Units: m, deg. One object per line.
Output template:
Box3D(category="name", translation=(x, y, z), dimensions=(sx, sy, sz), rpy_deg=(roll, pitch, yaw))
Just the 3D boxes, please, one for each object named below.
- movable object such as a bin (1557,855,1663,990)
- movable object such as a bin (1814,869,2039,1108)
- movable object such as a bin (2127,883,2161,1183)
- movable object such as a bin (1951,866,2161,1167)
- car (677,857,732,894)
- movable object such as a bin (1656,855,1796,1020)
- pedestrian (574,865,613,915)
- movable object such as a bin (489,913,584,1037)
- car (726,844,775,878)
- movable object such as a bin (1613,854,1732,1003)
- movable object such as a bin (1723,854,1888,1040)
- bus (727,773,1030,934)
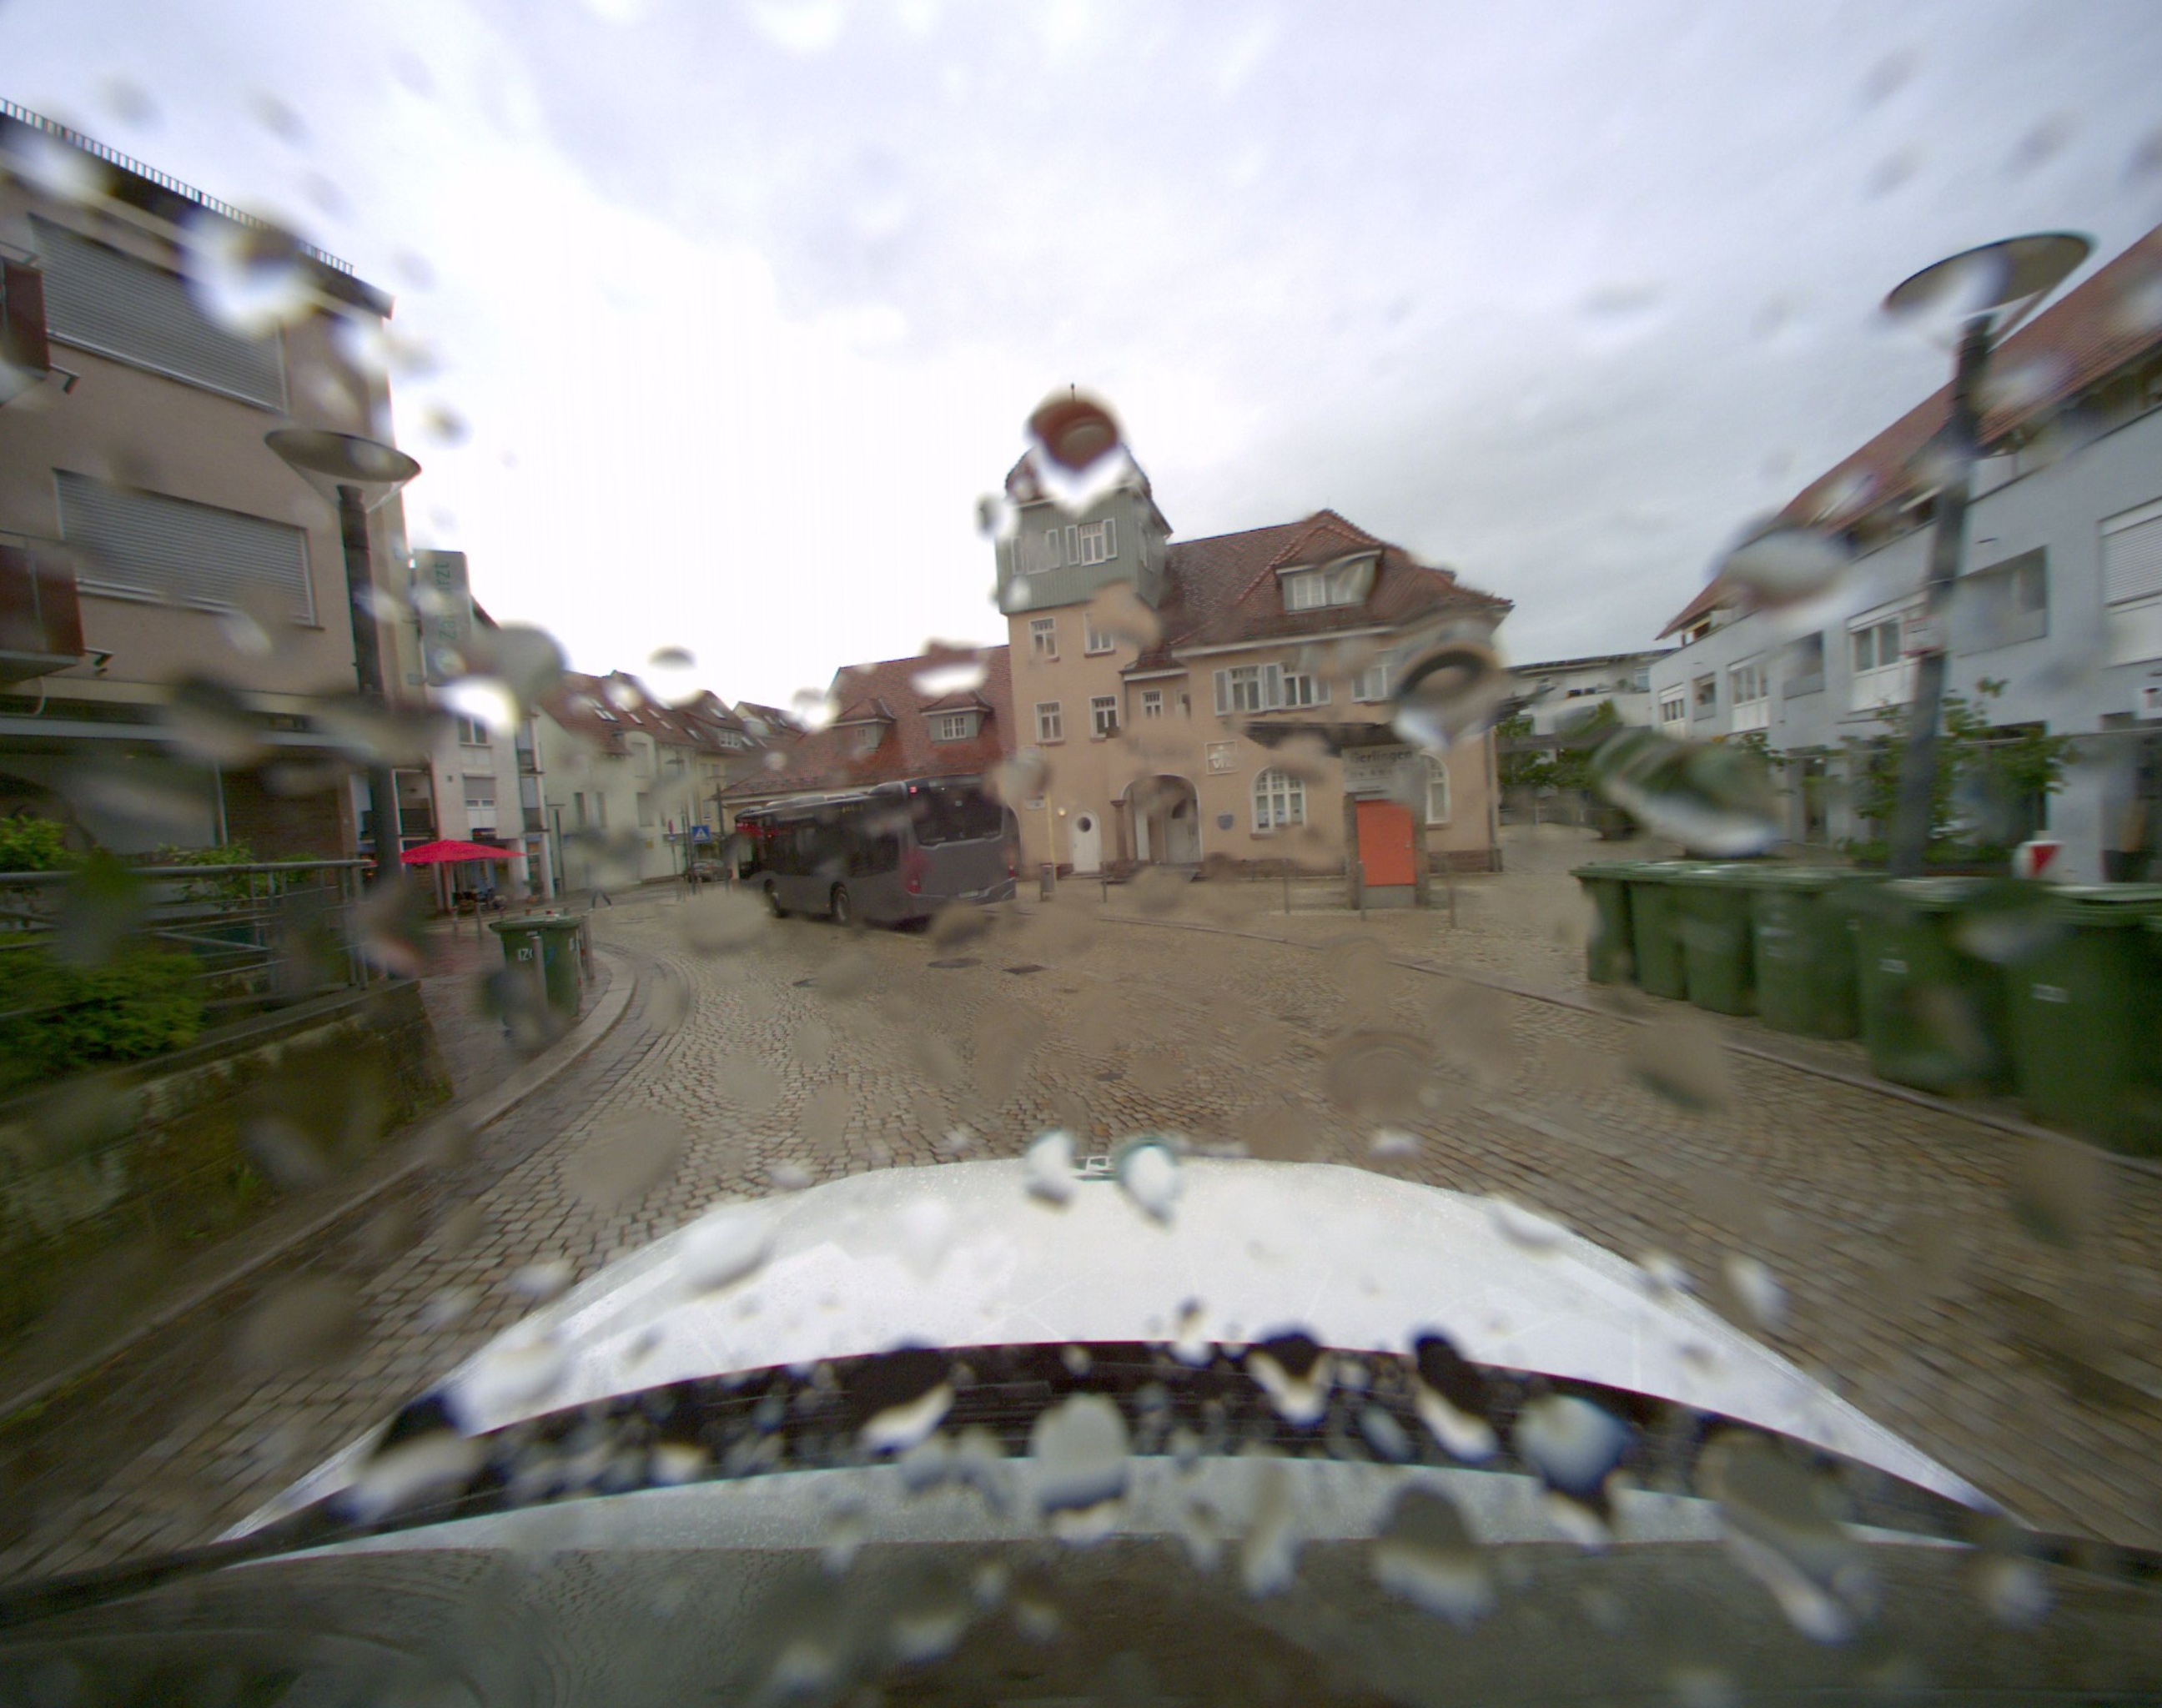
Box3D(category="movable object such as a bin", translation=(4.710, 0.586, 7.267), dimensions=(0.536, 1.126, 0.538), rpy_deg=(-3, 0, -7))
Box3D(category="movable object such as a bin", translation=(4.365, 0.661, 4.241), dimensions=(0.557, 1.126, 0.551), rpy_deg=(-3, 0, 3))
Box3D(category="movable object such as a bin", translation=(4.324, 0.671, 2.861), dimensions=(0.557, 1.126, 0.542), rpy_deg=(-3, 0, 3))
Box3D(category="movable object such as a bin", translation=(4.347, 0.655, 3.513), dimensions=(0.557, 1.159, 0.551), rpy_deg=(-3, 0, 3))
Box3D(category="car", translation=(-24.210, 1.348, 52.569), dimensions=(1.992, 1.863, 3.991), rpy_deg=(-3, 4, -7))
Box3D(category="movable object such as a bin", translation=(4.717, 0.589, 5.990), dimensions=(0.557, 1.126, 0.551), rpy_deg=(-3, 0, 3))
Box3D(category="pedestrian", translation=(-17.807, 1.299, 29.765), dimensions=(0.756, 1.732, 0.787), rpy_deg=(-2, 4, 13))
Box3D(category="movable object such as a bin", translation=(-5.442, 1.188, 8.175), dimensions=(0.682, 1.086, 0.535), rpy_deg=(-3, 2, -27))
Box3D(category="car", translation=(-23.757, 0.455, 58.708), dimensions=(1.990, 2.013, 3.995), rpy_deg=(-3, 4, -4))
Box3D(category="movable object such as a bin", translation=(4.763, 0.581, 6.580), dimensions=(0.534, 1.126, 0.540), rpy_deg=(-3, 0, 3))
Box3D(category="movable object such as a bin", translation=(4.746, 0.584, 5.364), dimensions=(0.557, 1.126, 0.551), rpy_deg=(-3, 0, 3))
Box3D(category="bus", translation=(-5.579, -0.032, 20.198), dimensions=(2.804, 2.989, 10.433), rpy_deg=(-6, 3, -40))
